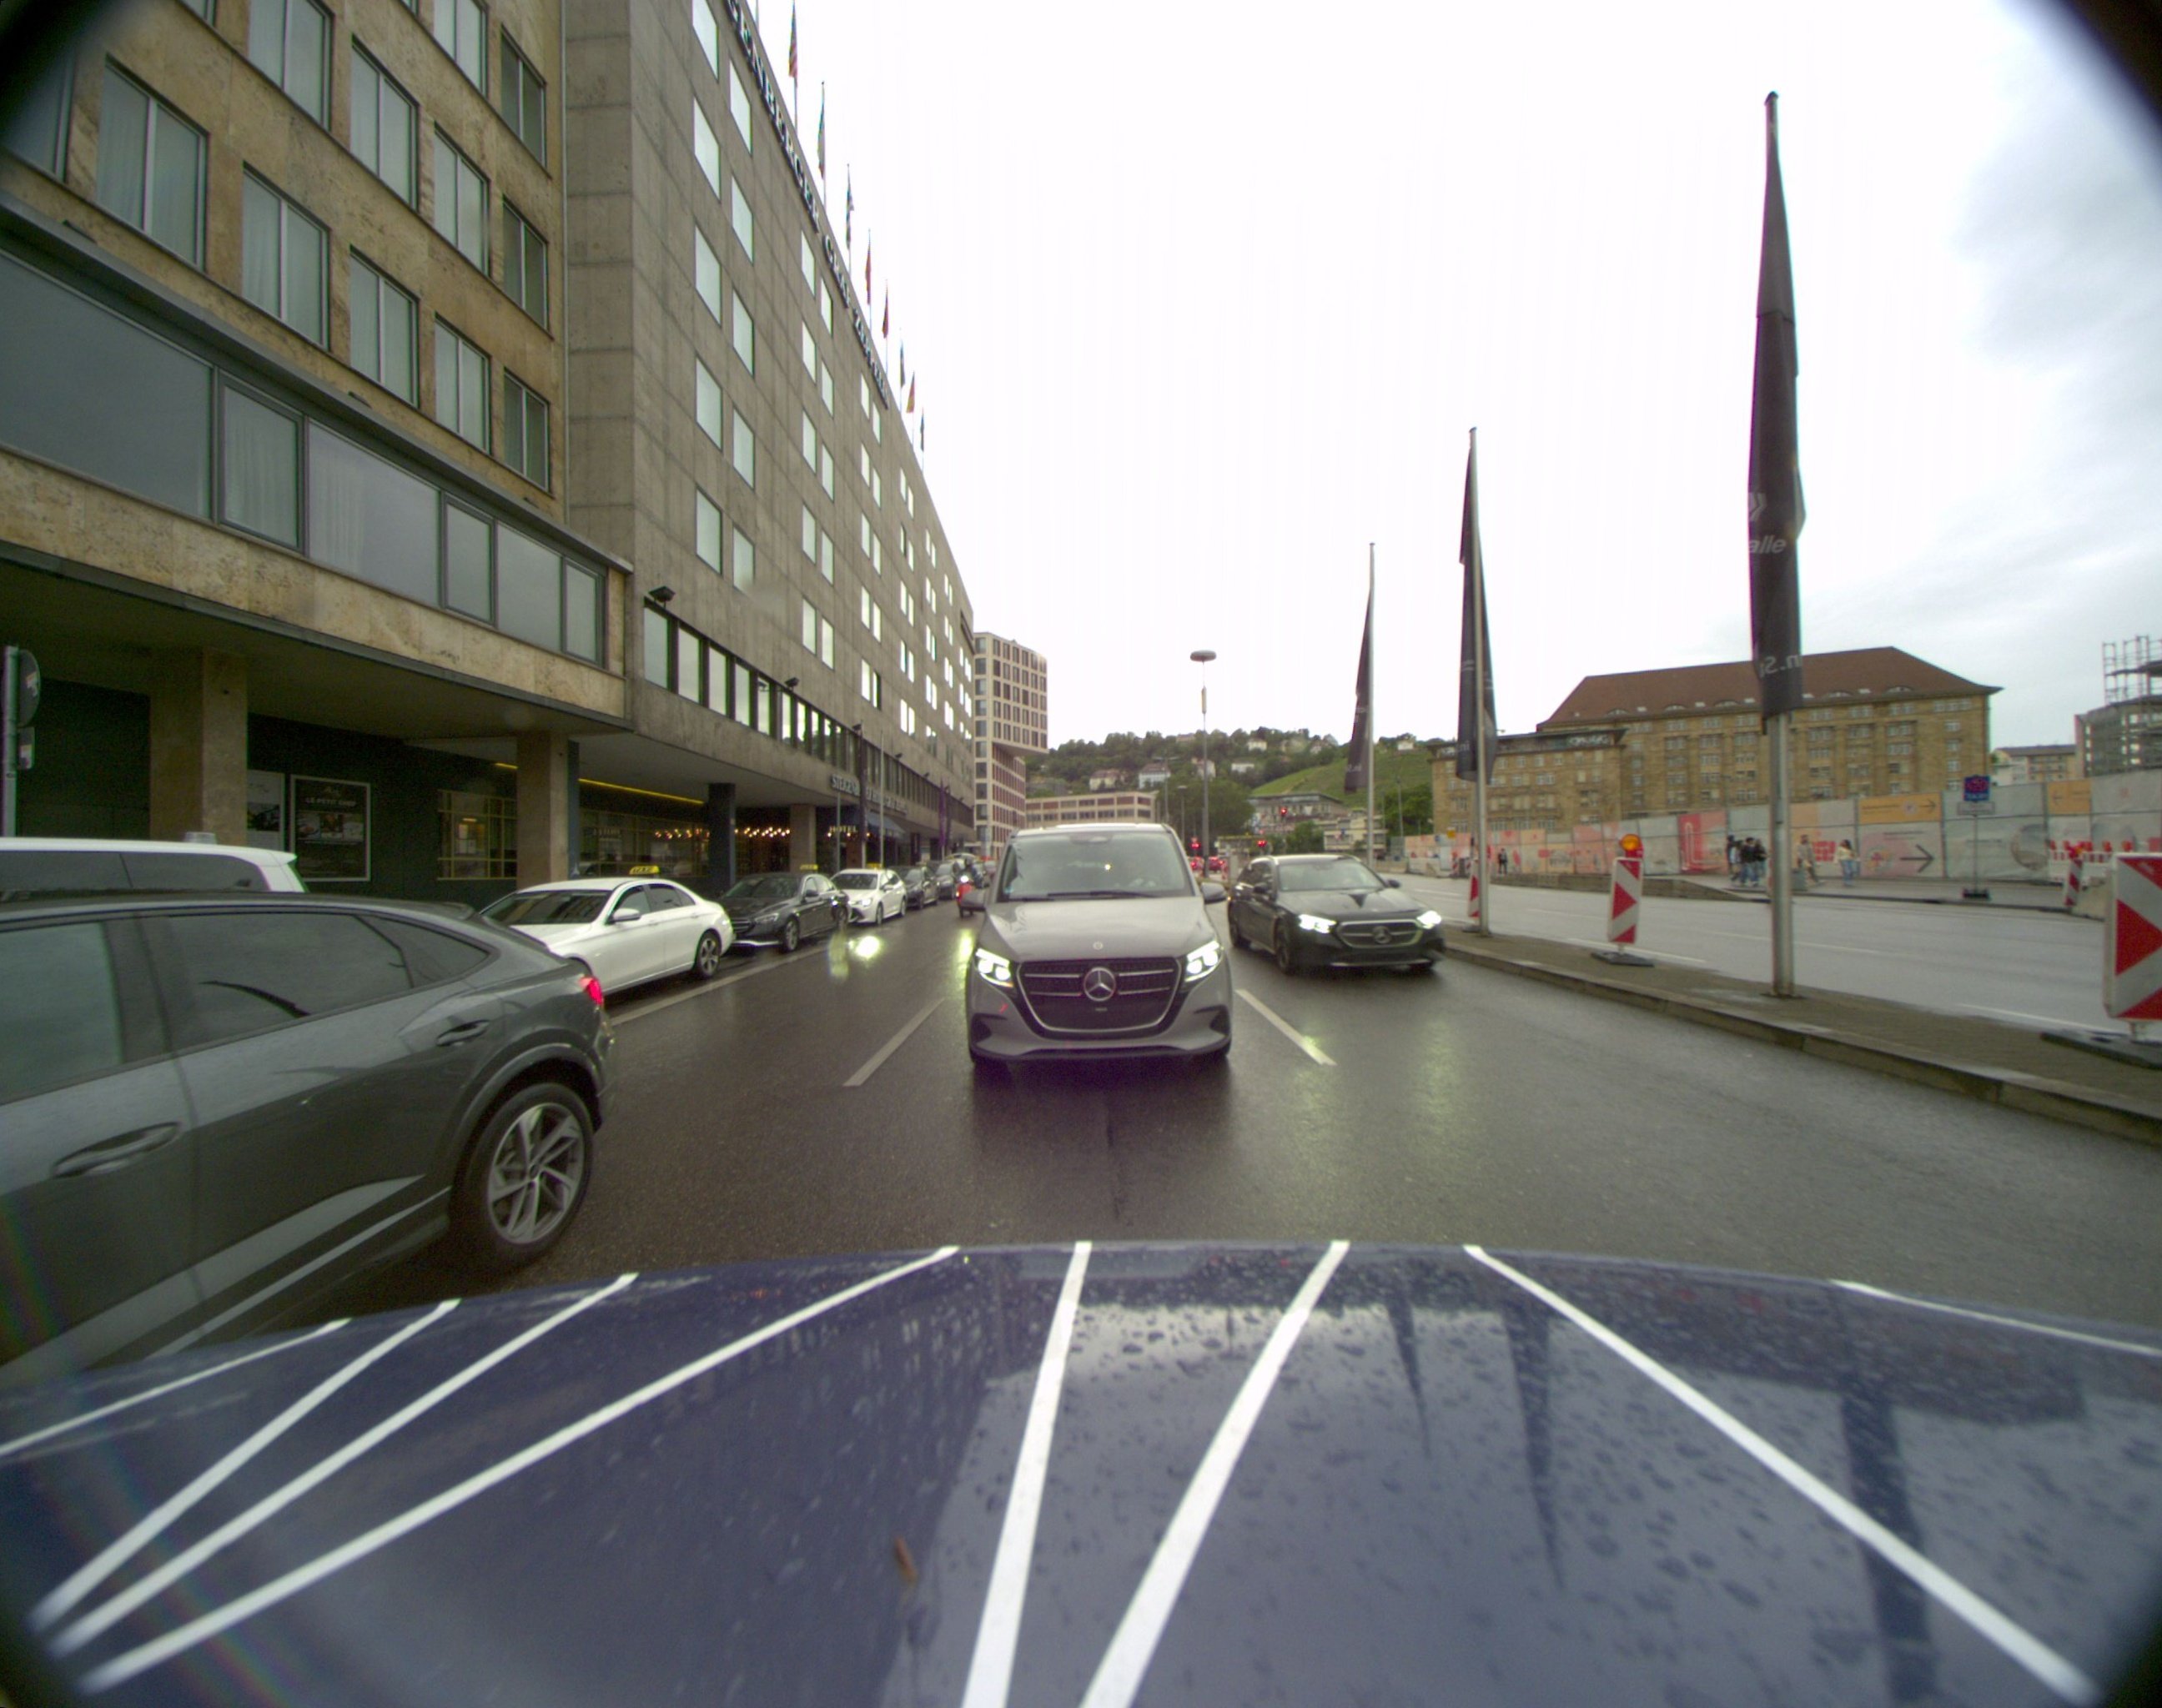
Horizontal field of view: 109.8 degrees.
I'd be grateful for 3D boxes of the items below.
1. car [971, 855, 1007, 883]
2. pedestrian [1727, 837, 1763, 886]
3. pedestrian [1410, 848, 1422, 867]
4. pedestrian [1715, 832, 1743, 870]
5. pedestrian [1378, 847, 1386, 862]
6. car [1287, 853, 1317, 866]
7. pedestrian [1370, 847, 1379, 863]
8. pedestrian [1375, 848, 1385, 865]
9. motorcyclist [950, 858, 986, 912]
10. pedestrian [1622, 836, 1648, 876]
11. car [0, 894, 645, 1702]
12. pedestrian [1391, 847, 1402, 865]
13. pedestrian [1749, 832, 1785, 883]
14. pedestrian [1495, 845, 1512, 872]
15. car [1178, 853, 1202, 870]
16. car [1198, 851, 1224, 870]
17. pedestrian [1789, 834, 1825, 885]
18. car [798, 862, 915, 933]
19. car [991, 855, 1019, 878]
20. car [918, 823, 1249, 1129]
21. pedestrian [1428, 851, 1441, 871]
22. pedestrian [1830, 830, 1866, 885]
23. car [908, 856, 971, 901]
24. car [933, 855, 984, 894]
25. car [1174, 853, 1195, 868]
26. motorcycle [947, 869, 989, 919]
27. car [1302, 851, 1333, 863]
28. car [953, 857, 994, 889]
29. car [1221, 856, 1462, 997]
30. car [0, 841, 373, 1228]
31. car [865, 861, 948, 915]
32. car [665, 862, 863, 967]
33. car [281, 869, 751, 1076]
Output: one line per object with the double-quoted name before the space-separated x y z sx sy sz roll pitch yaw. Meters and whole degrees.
"car" -5.864 0.912 48.915 1.731 1.604 4.001 -2 1 0
"pedestrian" 23.701 0.260 27.120 0.714 1.723 0.718 -2 1 19
"pedestrian" 28.779 0.335 65.319 0.715 1.606 0.544 -2 1 1
"pedestrian" 27.727 -0.131 32.527 0.715 1.606 0.544 -2 1 1
"pedestrian" 32.996 0.024 83.322 0.715 1.606 0.544 -2 1 11
"car" 34.255 0.832 117.794 4.194 1.846 1.832 -2 1 6
"pedestrian" 30.619 0.098 79.349 0.715 1.606 0.544 -2 1 1
"pedestrian" 29.142 0.276 74.016 0.715 1.606 0.544 -2 1 1
"motorcyclist" -3.317 0.891 22.305 0.861 1.519 0.844 -2 1 1
"pedestrian" 26.194 0.093 35.905 0.664 1.825 0.720 -2 1 1
"car" -3.141 0.995 1.535 1.883 1.493 4.342 -2 1 1
"pedestrian" 28.017 0.157 67.501 0.715 1.606 0.544 -2 1 1
"pedestrian" 24.810 0.125 27.502 0.714 1.825 0.718 -2 1 19
"pedestrian" 26.402 0.276 47.512 0.715 1.606 0.544 -2 1 1
"car" 11.498 0.796 80.216 1.785 1.684 3.916 -2 1 -1
"car" 12.350 0.603 72.386 1.785 1.684 3.916 -1 0 0
"pedestrian" 25.370 0.181 26.551 0.714 1.734 0.564 -2 1 21
"car" -6.036 1.089 21.046 1.731 1.583 4.814 -2 1 0
"car" -5.895 0.962 59.236 1.731 1.604 4.001 -2 1 0
"car" 0.053 0.747 7.331 1.998 1.849 5.160 -2 1 1
"pedestrian" 28.228 0.571 60.627 0.715 1.606 0.544 -2 1 1
"pedestrian" 26.130 0.124 25.899 0.661 1.825 0.556 -2 1 21
"car" -6.045 0.995 33.032 1.731 1.732 4.814 -2 1 0
"car" -6.082 0.955 38.229 1.731 1.732 4.814 -2 1 0
"car" 11.827 0.728 87.155 1.785 1.684 3.916 -2 1 -1
"motorcycle" -3.297 1.145 22.331 0.848 1.299 1.965 -2 1 1
"car" 32.629 0.427 104.824 3.993 1.622 2.002 -1 0 14
"car" -6.117 1.063 43.737 1.731 1.604 4.001 -2 1 0
"car" 3.347 0.817 10.816 1.860 1.461 4.586 -2 1 1
"car" -6.318 0.933 3.232 1.879 1.909 4.935 -2 1 0
"car" -6.038 1.119 26.861 1.731 1.583 4.814 -2 1 0
"car" -6.069 1.048 15.319 1.879 1.628 4.814 -2 1 0
"car" -6.087 1.098 9.235 1.879 1.628 5.010 -2 1 0
